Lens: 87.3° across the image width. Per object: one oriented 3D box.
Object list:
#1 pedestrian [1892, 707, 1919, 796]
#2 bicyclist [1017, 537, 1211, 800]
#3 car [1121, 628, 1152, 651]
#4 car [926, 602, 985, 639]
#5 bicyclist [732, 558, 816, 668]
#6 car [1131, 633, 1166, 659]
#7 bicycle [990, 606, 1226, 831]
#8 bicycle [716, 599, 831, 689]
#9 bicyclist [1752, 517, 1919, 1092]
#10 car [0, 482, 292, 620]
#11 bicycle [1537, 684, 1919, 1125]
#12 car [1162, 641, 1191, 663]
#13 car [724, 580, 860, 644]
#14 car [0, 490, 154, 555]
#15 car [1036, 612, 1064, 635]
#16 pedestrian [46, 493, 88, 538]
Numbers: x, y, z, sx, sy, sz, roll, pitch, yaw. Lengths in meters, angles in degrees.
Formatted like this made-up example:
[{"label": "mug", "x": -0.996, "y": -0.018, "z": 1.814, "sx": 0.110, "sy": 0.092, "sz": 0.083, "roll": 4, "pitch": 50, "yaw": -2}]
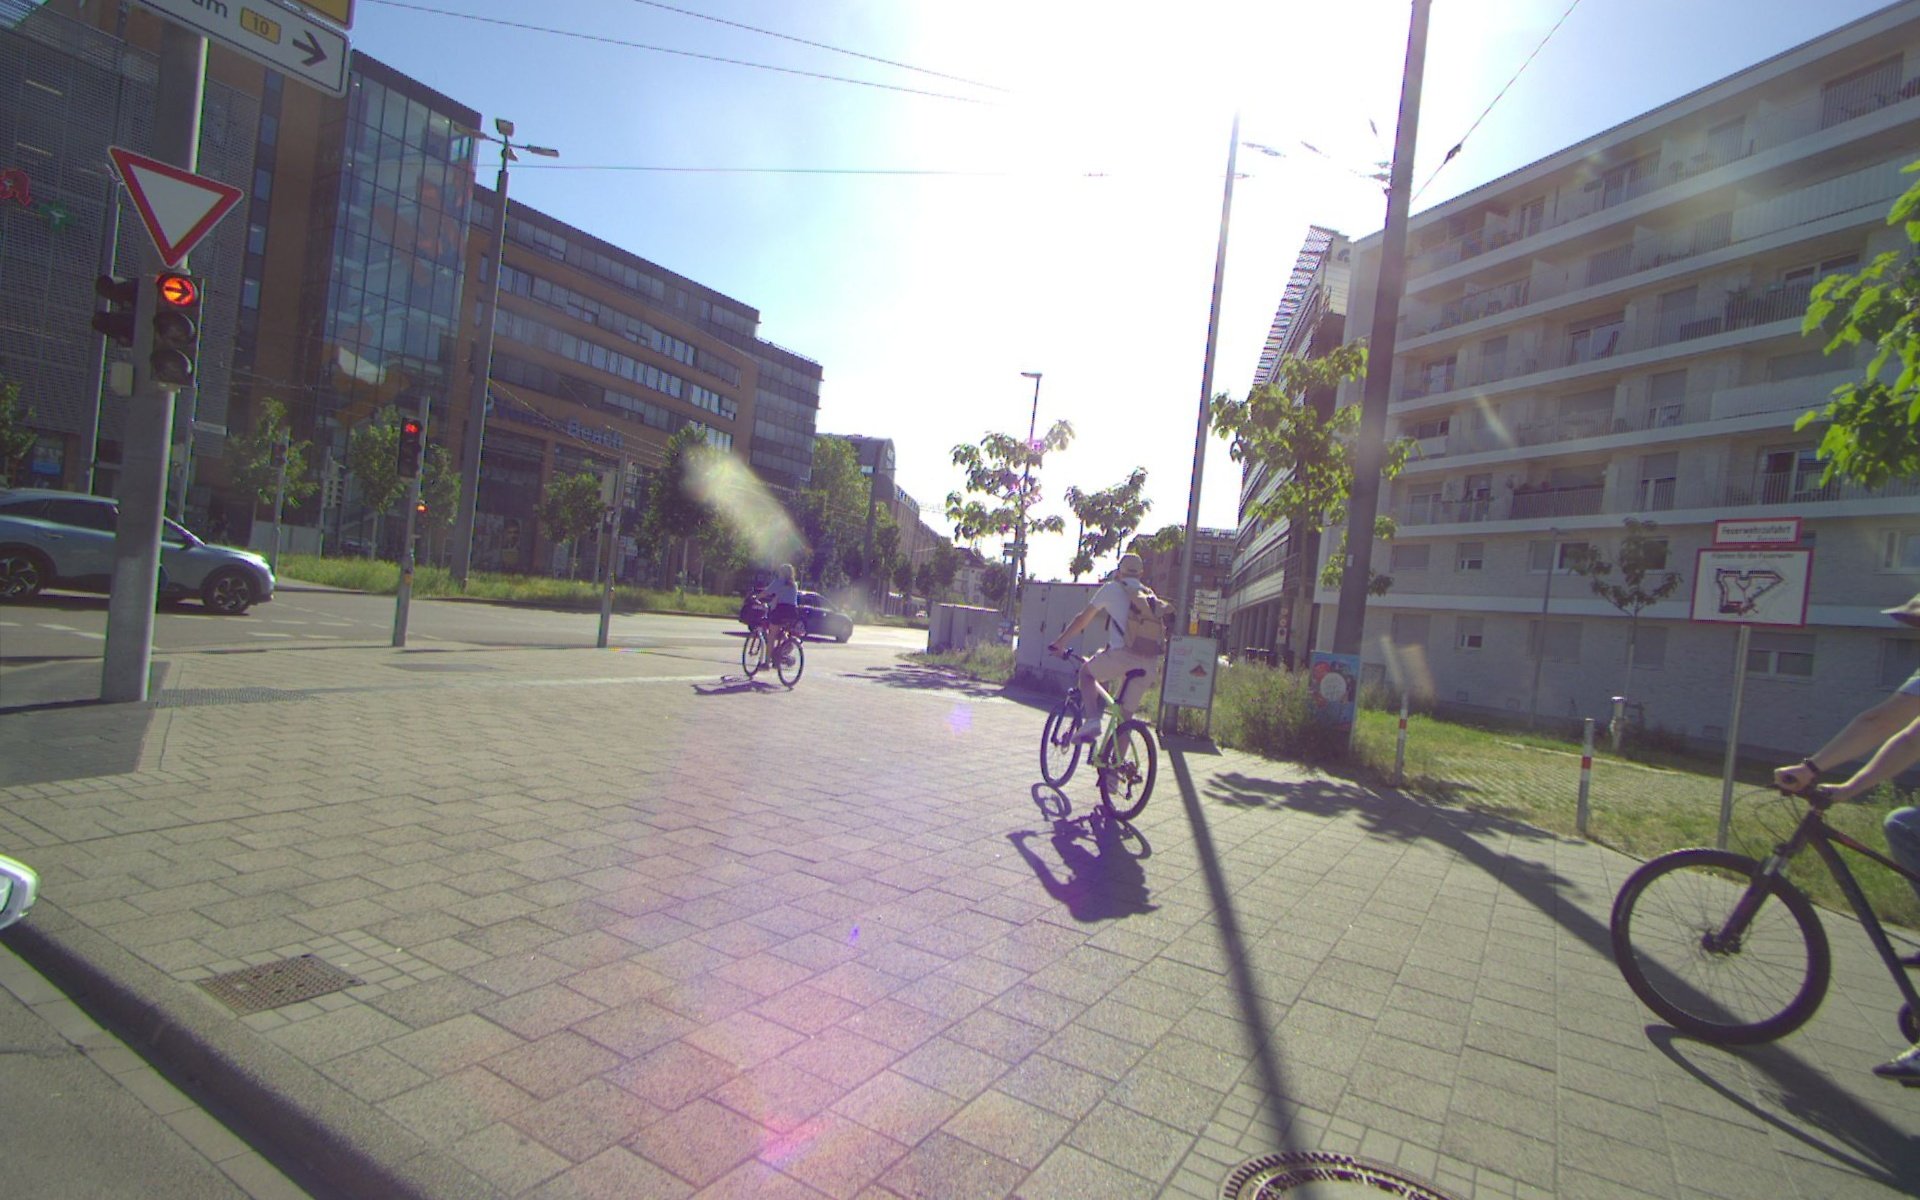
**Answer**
[{"label": "pedestrian", "x": 19.545, "y": 3.085, "z": 20.080, "sx": 0.970, "sy": 1.719, "sz": 0.842, "roll": 6, "pitch": 2, "yaw": -16}, {"label": "bicyclist", "x": 1.086, "y": 0.459, "z": 7.307, "sx": 0.708, "sy": 1.748, "sz": 1.086, "roll": 5, "pitch": 2, "yaw": -28}, {"label": "car", "x": 13.978, "y": 3.151, "z": 79.506, "sx": 1.677, "sy": 1.515, "sz": 4.281, "roll": 7, "pitch": -2, "yaw": 19}, {"label": "car", "x": -0.201, "y": 1.192, "z": 56.416, "sx": 1.901, "sy": 1.728, "sz": 4.686, "roll": 7, "pitch": 0, "yaw": 16}, {"label": "bicyclist", "x": -2.627, "y": 0.179, "z": 14.180, "sx": 0.664, "sy": 1.453, "sz": 0.929, "roll": 6, "pitch": -1, "yaw": -42}, {"label": "car", "x": 13.394, "y": 3.298, "z": 71.177, "sx": 1.677, "sy": 1.515, "sz": 4.281, "roll": 7, "pitch": -2, "yaw": 19}, {"label": "bicycle", "x": 1.013, "y": 0.801, "z": 7.396, "sx": 0.708, "sy": 1.344, "sz": 1.736, "roll": 5, "pitch": 1, "yaw": -27}, {"label": "bicycle", "x": -2.658, "y": 0.606, "z": 14.188, "sx": 0.664, "sy": 1.085, "sz": 1.799, "roll": 6, "pitch": -1, "yaw": -42}, {"label": "bicyclist", "x": 3.463, "y": 0.702, "z": 3.621, "sx": 0.805, "sy": 1.888, "sz": 0.740, "roll": 6, "pitch": -1, "yaw": -44}, {"label": "car", "x": -12.441, "y": -0.710, "z": 14.567, "sx": 1.678, "sy": 1.531, "sz": 4.279, "roll": 7, "pitch": -2, "yaw": 24}, {"label": "bicycle", "x": 3.433, "y": 1.098, "z": 3.622, "sx": 0.753, "sy": 1.316, "sz": 2.130, "roll": 6, "pitch": -1, "yaw": -41}, {"label": "car", "x": 17.915, "y": 4.318, "z": 83.263, "sx": 1.677, "sy": 1.515, "sz": 4.281, "roll": 7, "pitch": -2, "yaw": 19}, {"label": "car", "x": -5.139, "y": 0.430, "z": 31.452, "sx": 1.800, "sy": 1.479, "sz": 4.684, "roll": 7, "pitch": -1, "yaw": 23}, {"label": "car", "x": -32.069, "y": -2.771, "z": 36.325, "sx": 1.810, "sy": 1.484, "sz": 4.161, "roll": 6, "pitch": -5, "yaw": 30}, {"label": "car", "x": 7.879, "y": 2.046, "z": 87.748, "sx": 1.615, "sy": 1.665, "sz": 3.704, "roll": 7, "pitch": -1, "yaw": 15}, {"label": "pedestrian", "x": -40.793, "y": -3.865, "z": 45.943, "sx": 1.017, "sy": 1.852, "sz": 1.014, "roll": 7, "pitch": 2, "yaw": 26}]
